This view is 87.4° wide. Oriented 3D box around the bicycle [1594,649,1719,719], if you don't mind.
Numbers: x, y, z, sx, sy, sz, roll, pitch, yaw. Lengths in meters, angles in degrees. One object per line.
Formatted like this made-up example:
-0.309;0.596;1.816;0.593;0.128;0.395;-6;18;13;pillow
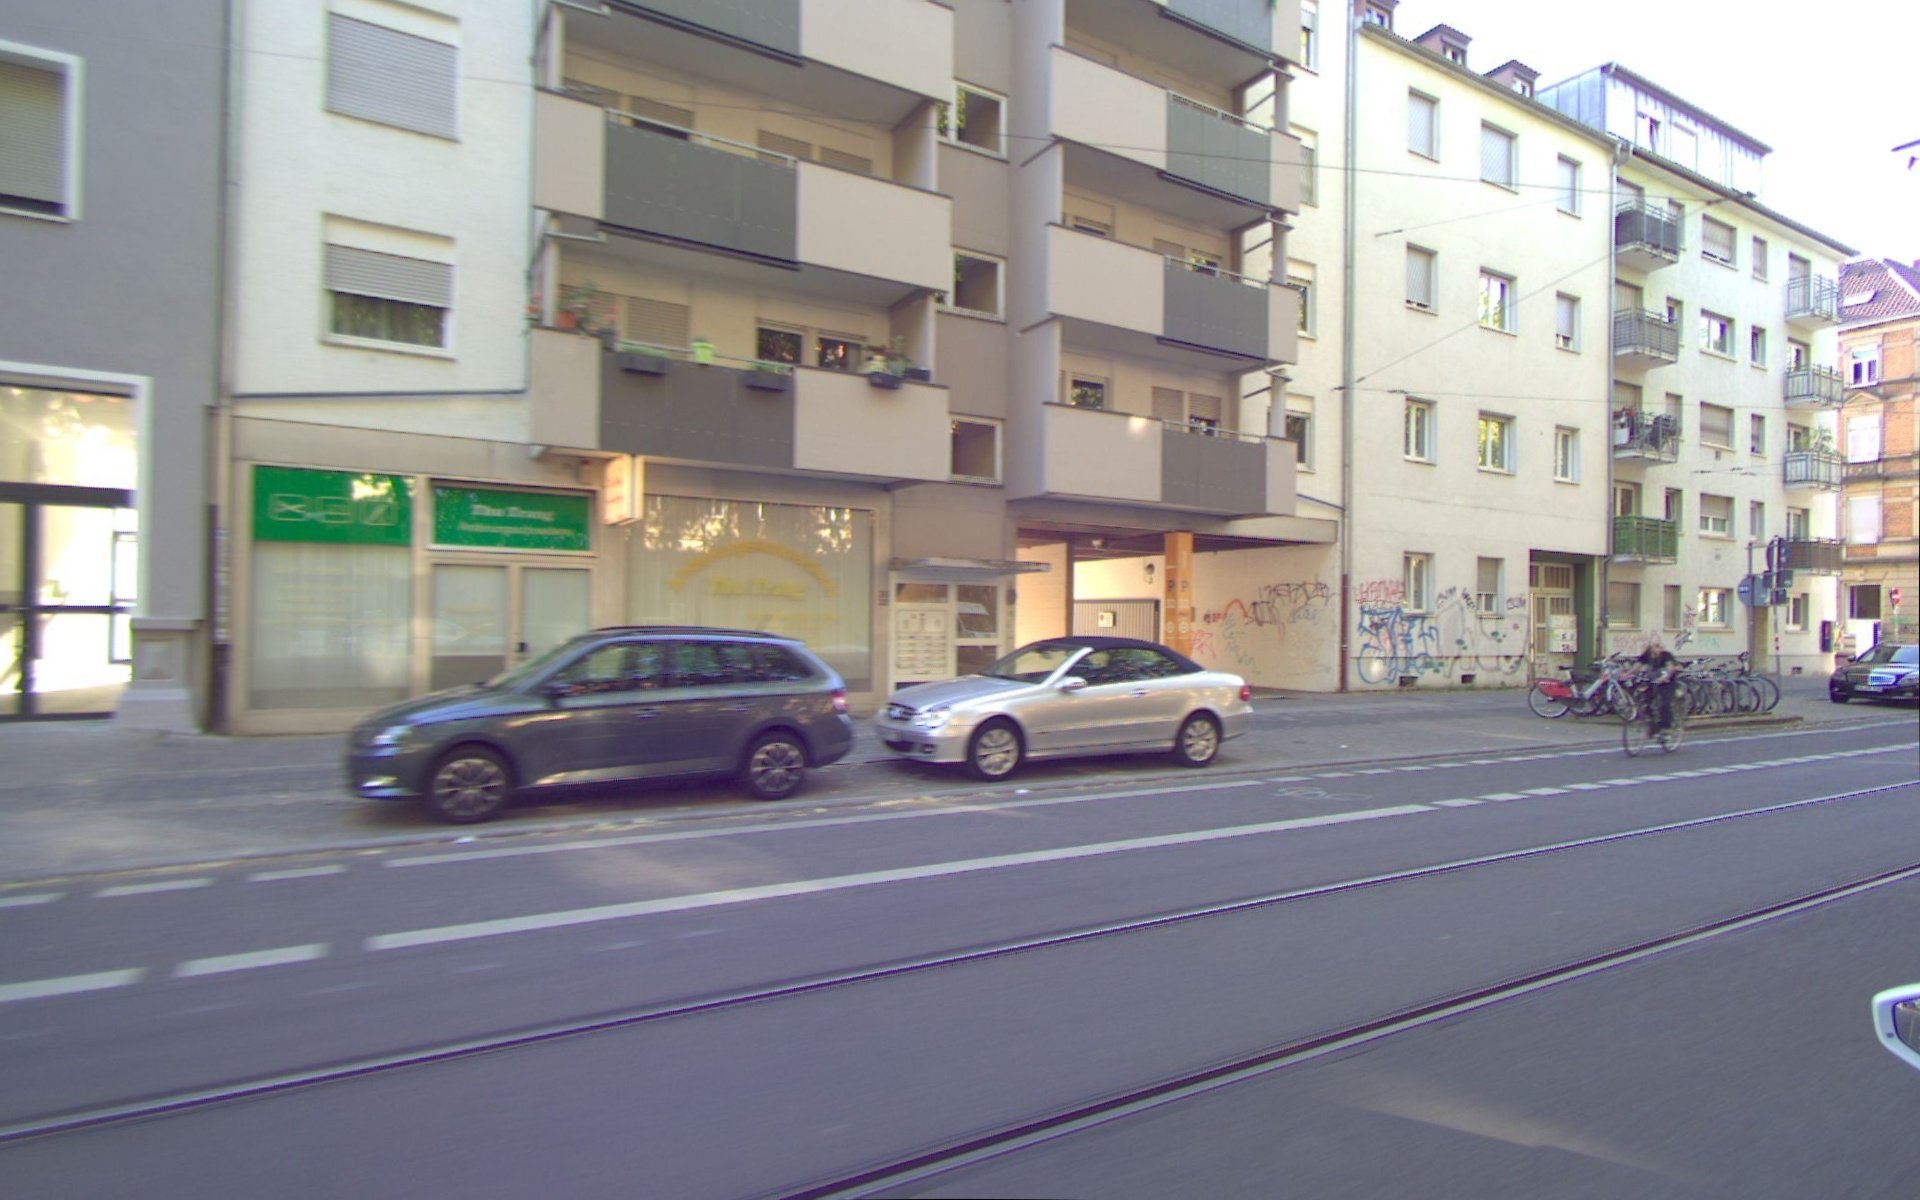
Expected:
12.828;1.521;18.575;0.418;1.134;1.964;1;0;-23;bicycle

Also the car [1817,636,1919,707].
21.997;1.604;23.321;4.516;1.475;1.711;1;-1;-29;car

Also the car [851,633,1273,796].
1.247;1.152;11.382;4.671;1.511;1.682;1;-1;-30;car

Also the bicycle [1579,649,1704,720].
12.398;1.509;18.358;0.433;1.134;1.956;1;0;-23;bicycle

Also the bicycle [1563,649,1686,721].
11.929;1.497;18.107;0.433;1.134;1.926;1;0;-23;bicycle

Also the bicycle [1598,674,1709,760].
9.154;1.515;13.234;1.924;1.031;0.415;1;-3;-30;bicycle

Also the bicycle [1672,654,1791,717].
15.080;1.647;19.687;0.396;1.051;1.889;1;0;-23;bicycle

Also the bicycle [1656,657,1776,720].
14.545;1.681;19.384;0.396;1.051;1.889;1;0;-23;bicycle

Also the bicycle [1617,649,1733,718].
13.414;1.536;18.917;0.418;1.134;1.815;1;0;-23;bicycle

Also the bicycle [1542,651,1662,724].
11.363;1.518;17.840;0.396;1.134;1.889;1;0;-23;bicycle

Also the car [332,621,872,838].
-3.056;0.965;8.906;4.193;1.511;1.784;1;-1;-32;car

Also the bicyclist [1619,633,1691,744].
9.135;1.151;13.211;0.701;1.412;0.506;1;-3;-30;bicyclist

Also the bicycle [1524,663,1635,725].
10.829;1.632;17.601;1.601;0.929;0.400;2;0;44;bicycle

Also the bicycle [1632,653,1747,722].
13.740;1.617;18.970;0.418;1.134;1.785;1;0;-23;bicycle
